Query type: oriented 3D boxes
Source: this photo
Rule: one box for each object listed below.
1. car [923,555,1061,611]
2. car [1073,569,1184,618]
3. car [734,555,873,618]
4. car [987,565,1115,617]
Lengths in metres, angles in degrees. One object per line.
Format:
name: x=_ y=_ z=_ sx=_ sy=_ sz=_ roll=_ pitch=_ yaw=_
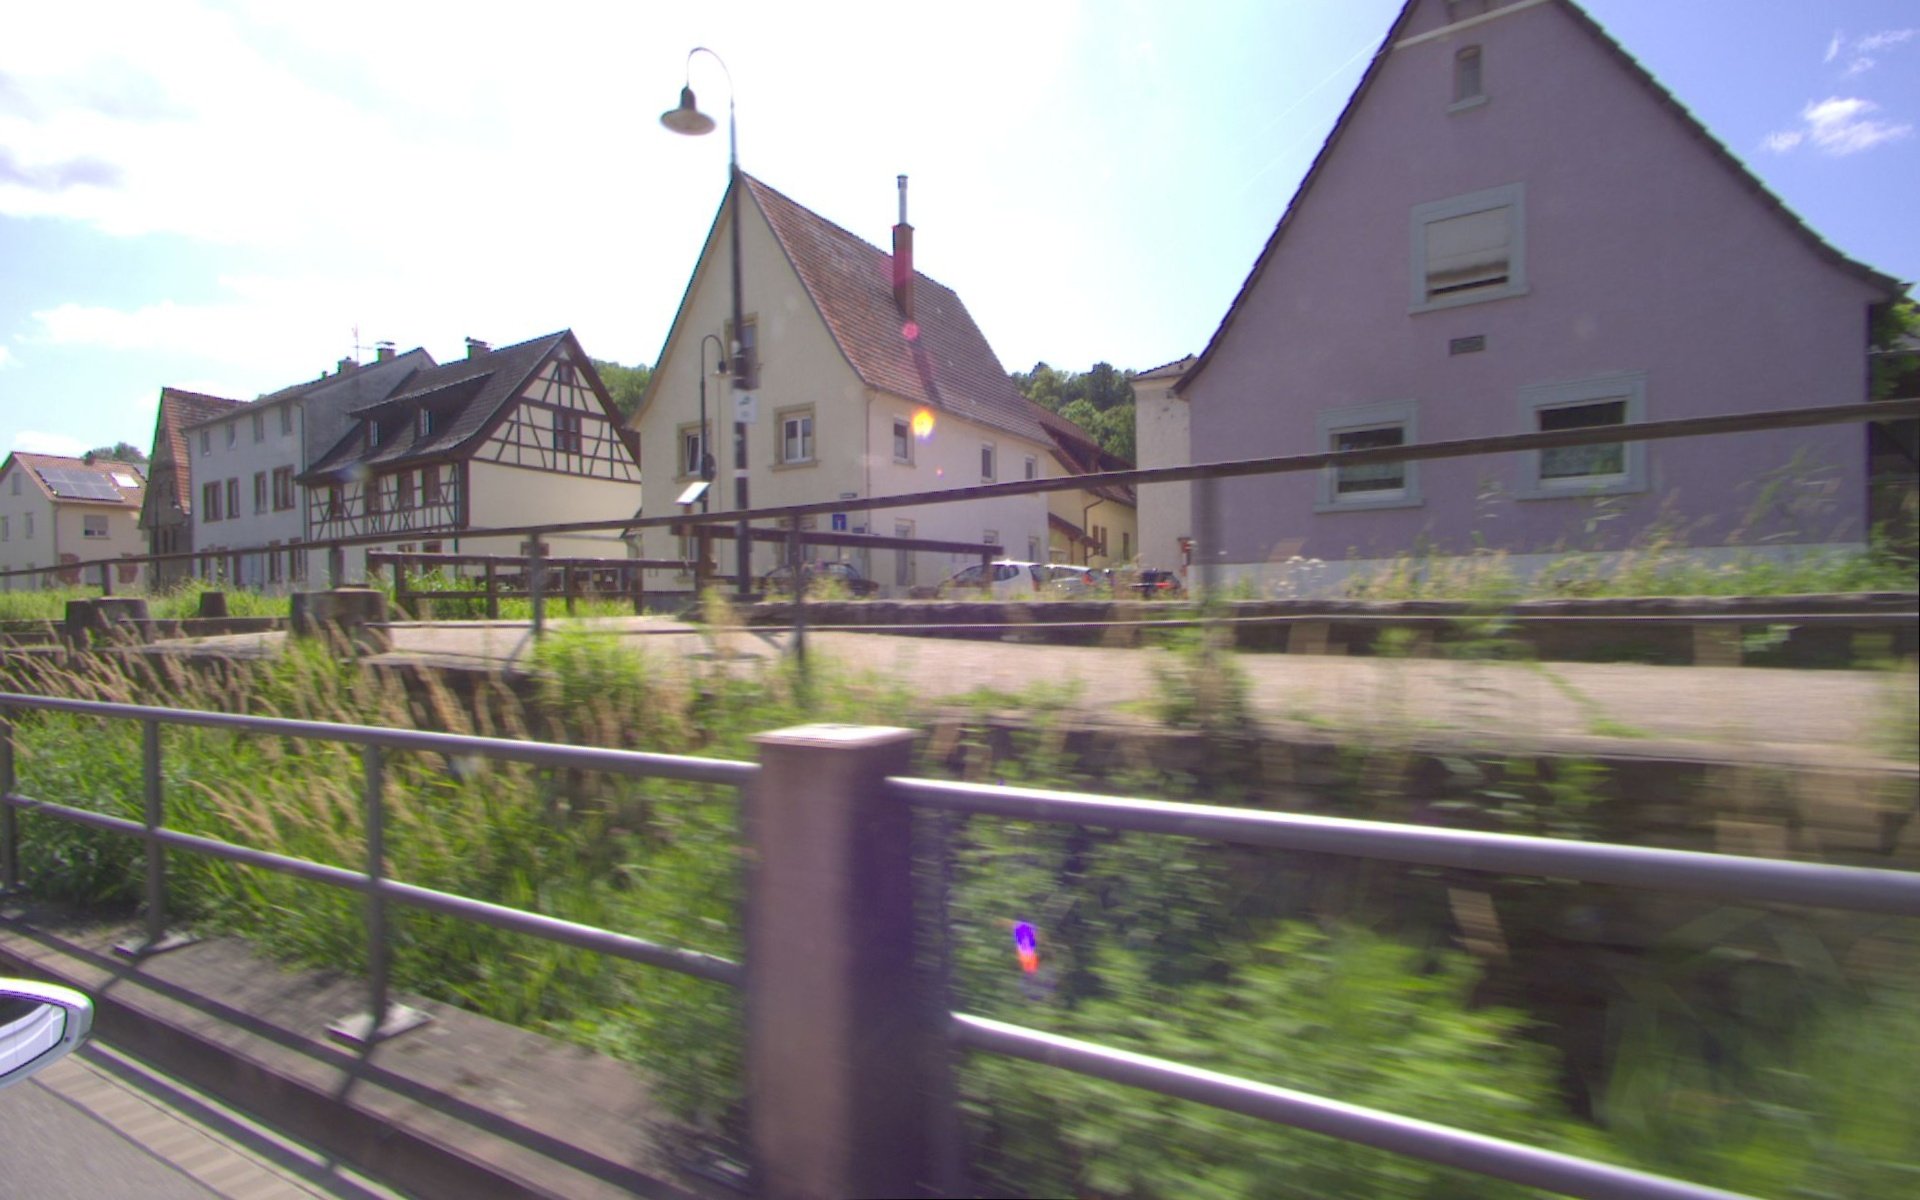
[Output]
car: x=0.831 y=-0.441 z=26.003 sx=3.194 sy=1.343 sz=1.663 roll=-1 pitch=2 yaw=29
car: x=5.434 y=-0.176 z=32.331 sx=3.194 sy=1.451 sz=1.664 roll=-1 pitch=-2 yaw=29
car: x=-3.819 y=-0.285 z=24.444 sx=3.035 sy=1.434 sz=1.662 roll=-1 pitch=-1 yaw=33
car: x=2.528 y=-0.201 z=27.839 sx=3.194 sy=1.342 sz=1.664 roll=-1 pitch=-1 yaw=29
